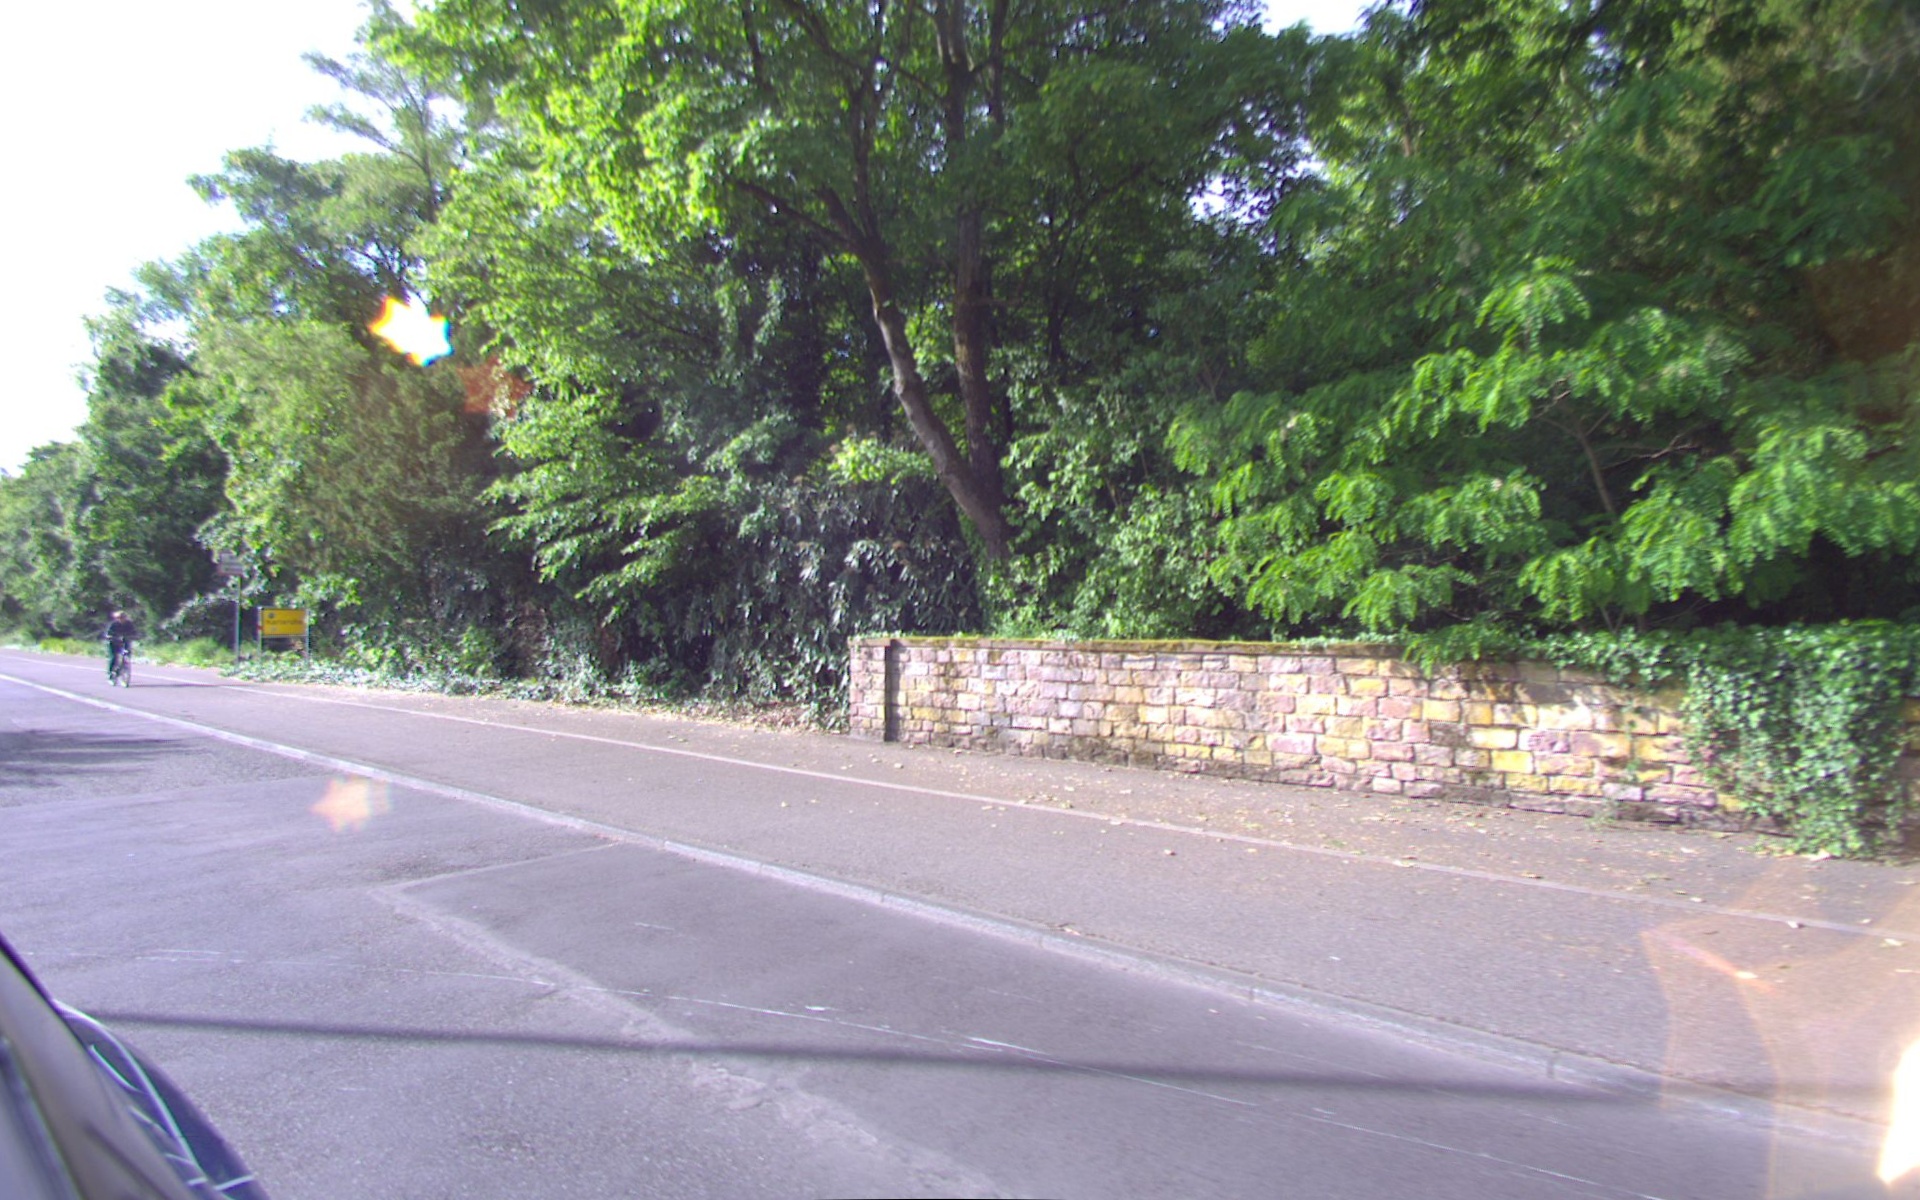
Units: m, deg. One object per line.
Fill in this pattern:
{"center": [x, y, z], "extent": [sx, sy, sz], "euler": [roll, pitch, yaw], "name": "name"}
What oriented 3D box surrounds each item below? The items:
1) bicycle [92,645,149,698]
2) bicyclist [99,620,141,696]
{"center": [-19.123, 1.602, 23.033], "extent": [2.347, 1.105, 0.655], "euler": [-1, -1, 41], "name": "bicycle"}
{"center": [-19.120, 1.301, 23.039], "extent": [0.883, 1.689, 0.602], "euler": [-1, -1, 41], "name": "bicyclist"}
